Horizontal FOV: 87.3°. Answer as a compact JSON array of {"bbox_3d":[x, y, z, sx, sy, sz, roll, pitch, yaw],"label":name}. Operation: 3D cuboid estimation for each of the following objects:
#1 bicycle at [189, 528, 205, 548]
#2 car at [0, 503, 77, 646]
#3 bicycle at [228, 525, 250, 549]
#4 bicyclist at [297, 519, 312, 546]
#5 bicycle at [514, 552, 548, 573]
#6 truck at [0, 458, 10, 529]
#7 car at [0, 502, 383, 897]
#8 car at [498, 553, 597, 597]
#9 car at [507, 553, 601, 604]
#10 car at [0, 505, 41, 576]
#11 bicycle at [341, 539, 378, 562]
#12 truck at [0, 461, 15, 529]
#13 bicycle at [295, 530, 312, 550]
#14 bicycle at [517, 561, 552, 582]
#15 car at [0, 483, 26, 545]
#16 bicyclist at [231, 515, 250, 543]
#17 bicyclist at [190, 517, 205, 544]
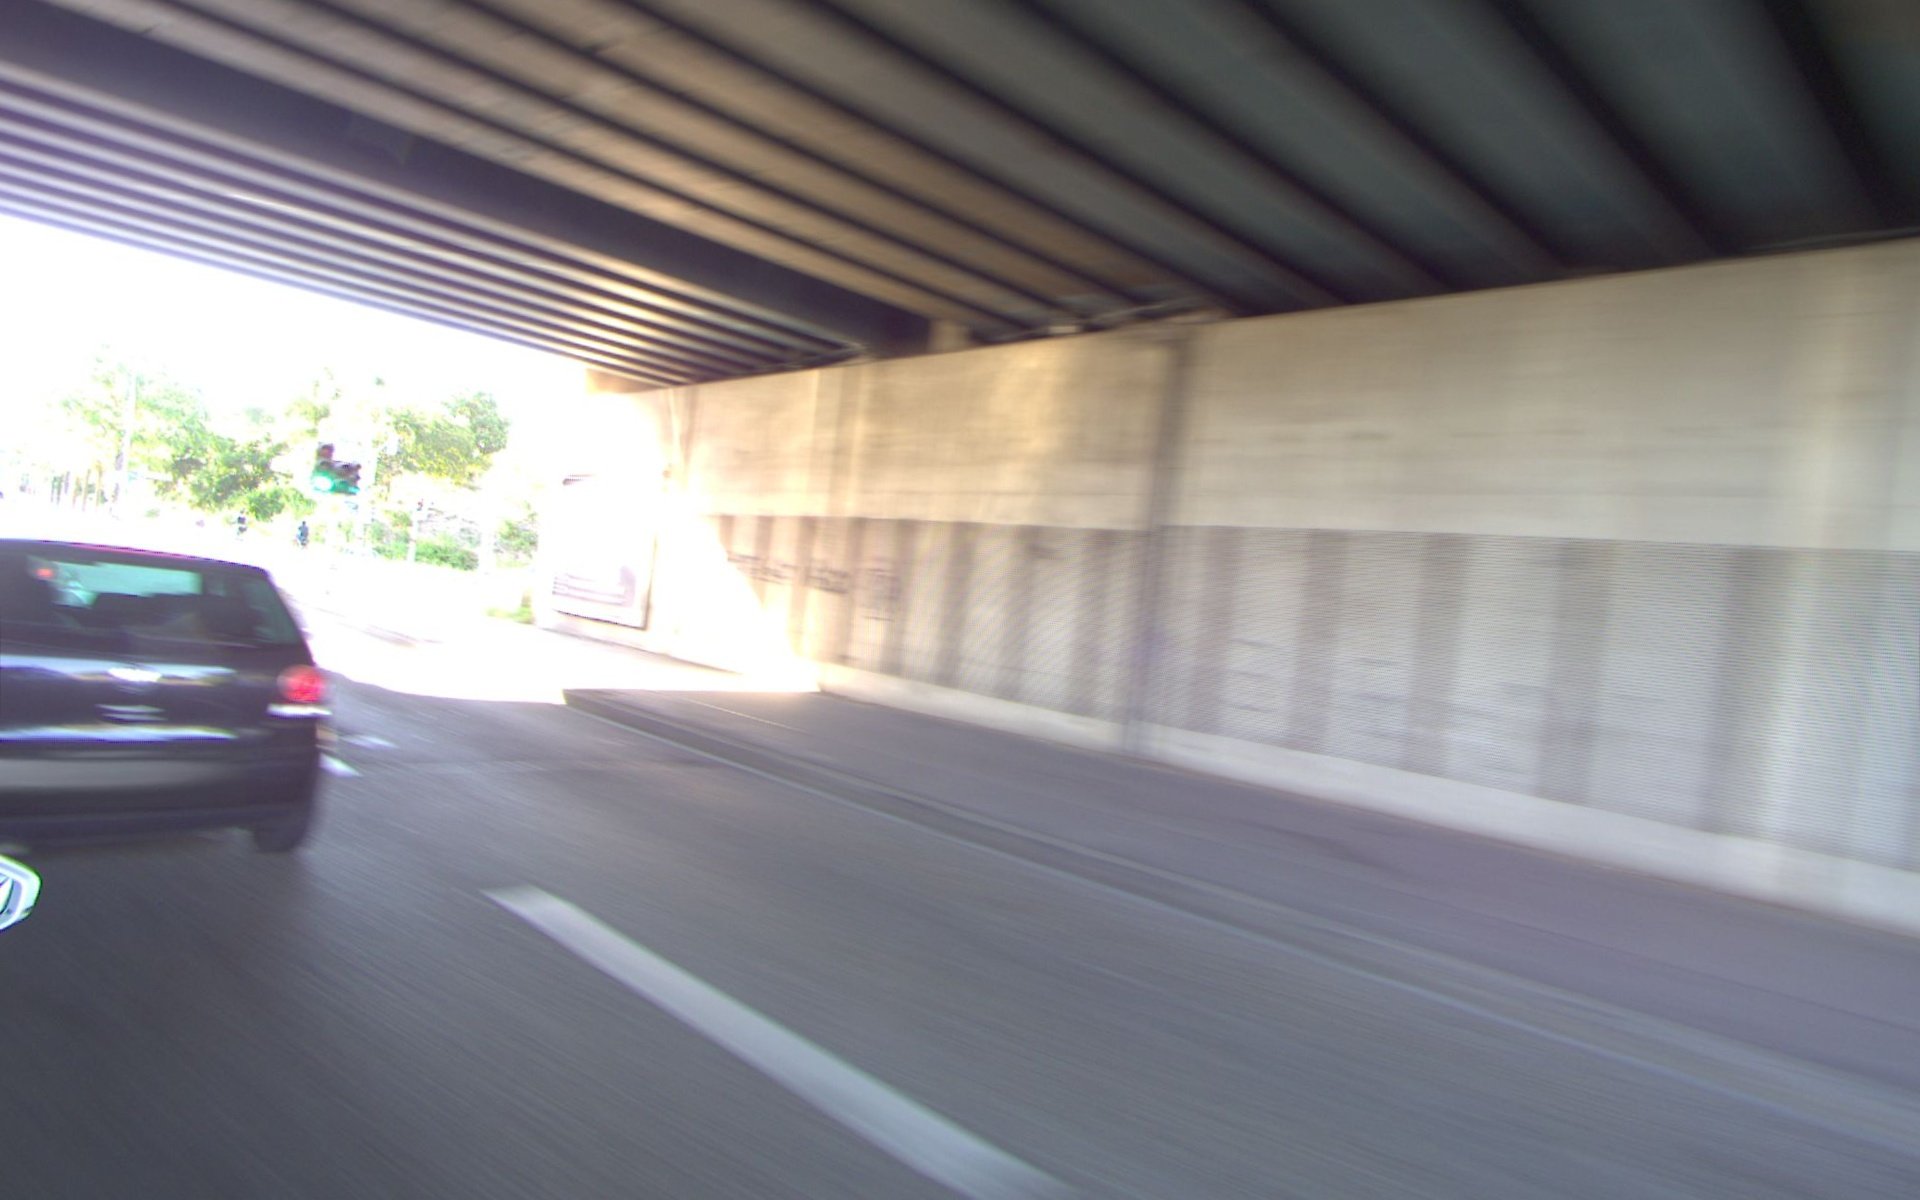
[{"bbox_3d":[-36.220,-2.947,47.772,0.436,0.926,1.014,4,1,-45],"label":"bicycle"},{"bbox_3d":[-11.565,-0.460,11.447,4.004,1.429,1.578,6,-2,40],"label":"car"},{"bbox_3d":[-37.088,-3.242,51.751,0.563,1.125,1.601,8,-2,-45],"label":"bicycle"},{"bbox_3d":[-34.345,-3.538,52.716,0.454,1.324,0.426,6,-1,45],"label":"bicyclist"},{"bbox_3d":[-26.243,-2.307,61.573,1.780,0.991,0.634,9,-2,-31],"label":"bicycle"},{"bbox_3d":[-38.848,-4.334,39.442,1.992,2.699,3.949,9,-2,-45],"label":"truck"},{"bbox_3d":[-4.572,0.277,5.126,3.631,1.426,1.615,6,-2,41],"label":"car"},{"bbox_3d":[-20.221,-1.201,49.379,3.971,1.547,1.979,9,-2,-39],"label":"car"},{"bbox_3d":[-16.962,-0.846,42.221,1.709,1.649,4.068,7,-2,8],"label":"car"},{"bbox_3d":[-20.382,-1.368,20.649,3.949,1.309,1.990,6,-3,45],"label":"car"},{"bbox_3d":[-32.804,-2.703,54.953,1.648,1.004,0.573,7,3,-29],"label":"bicycle"},{"bbox_3d":[-35.621,-3.911,36.241,1.992,2.342,3.949,9,-2,-45],"label":"truck"},{"bbox_3d":[-34.403,-3.138,52.715,0.436,0.925,1.014,8,-2,-45],"label":"bicycle"},{"bbox_3d":[-25.597,-1.730,60.475,1.780,0.992,0.634,9,0,-31],"label":"bicycle"},{"bbox_3d":[-27.415,-2.516,28.023,1.793,1.576,3.949,9,-2,-45],"label":"car"},{"bbox_3d":[-36.995,-3.663,51.710,0.825,1.331,0.542,6,-1,45],"label":"bicyclist"},{"bbox_3d":[-36.244,-3.307,47.833,0.426,1.248,0.454,6,0,-45],"label":"bicyclist"}]
